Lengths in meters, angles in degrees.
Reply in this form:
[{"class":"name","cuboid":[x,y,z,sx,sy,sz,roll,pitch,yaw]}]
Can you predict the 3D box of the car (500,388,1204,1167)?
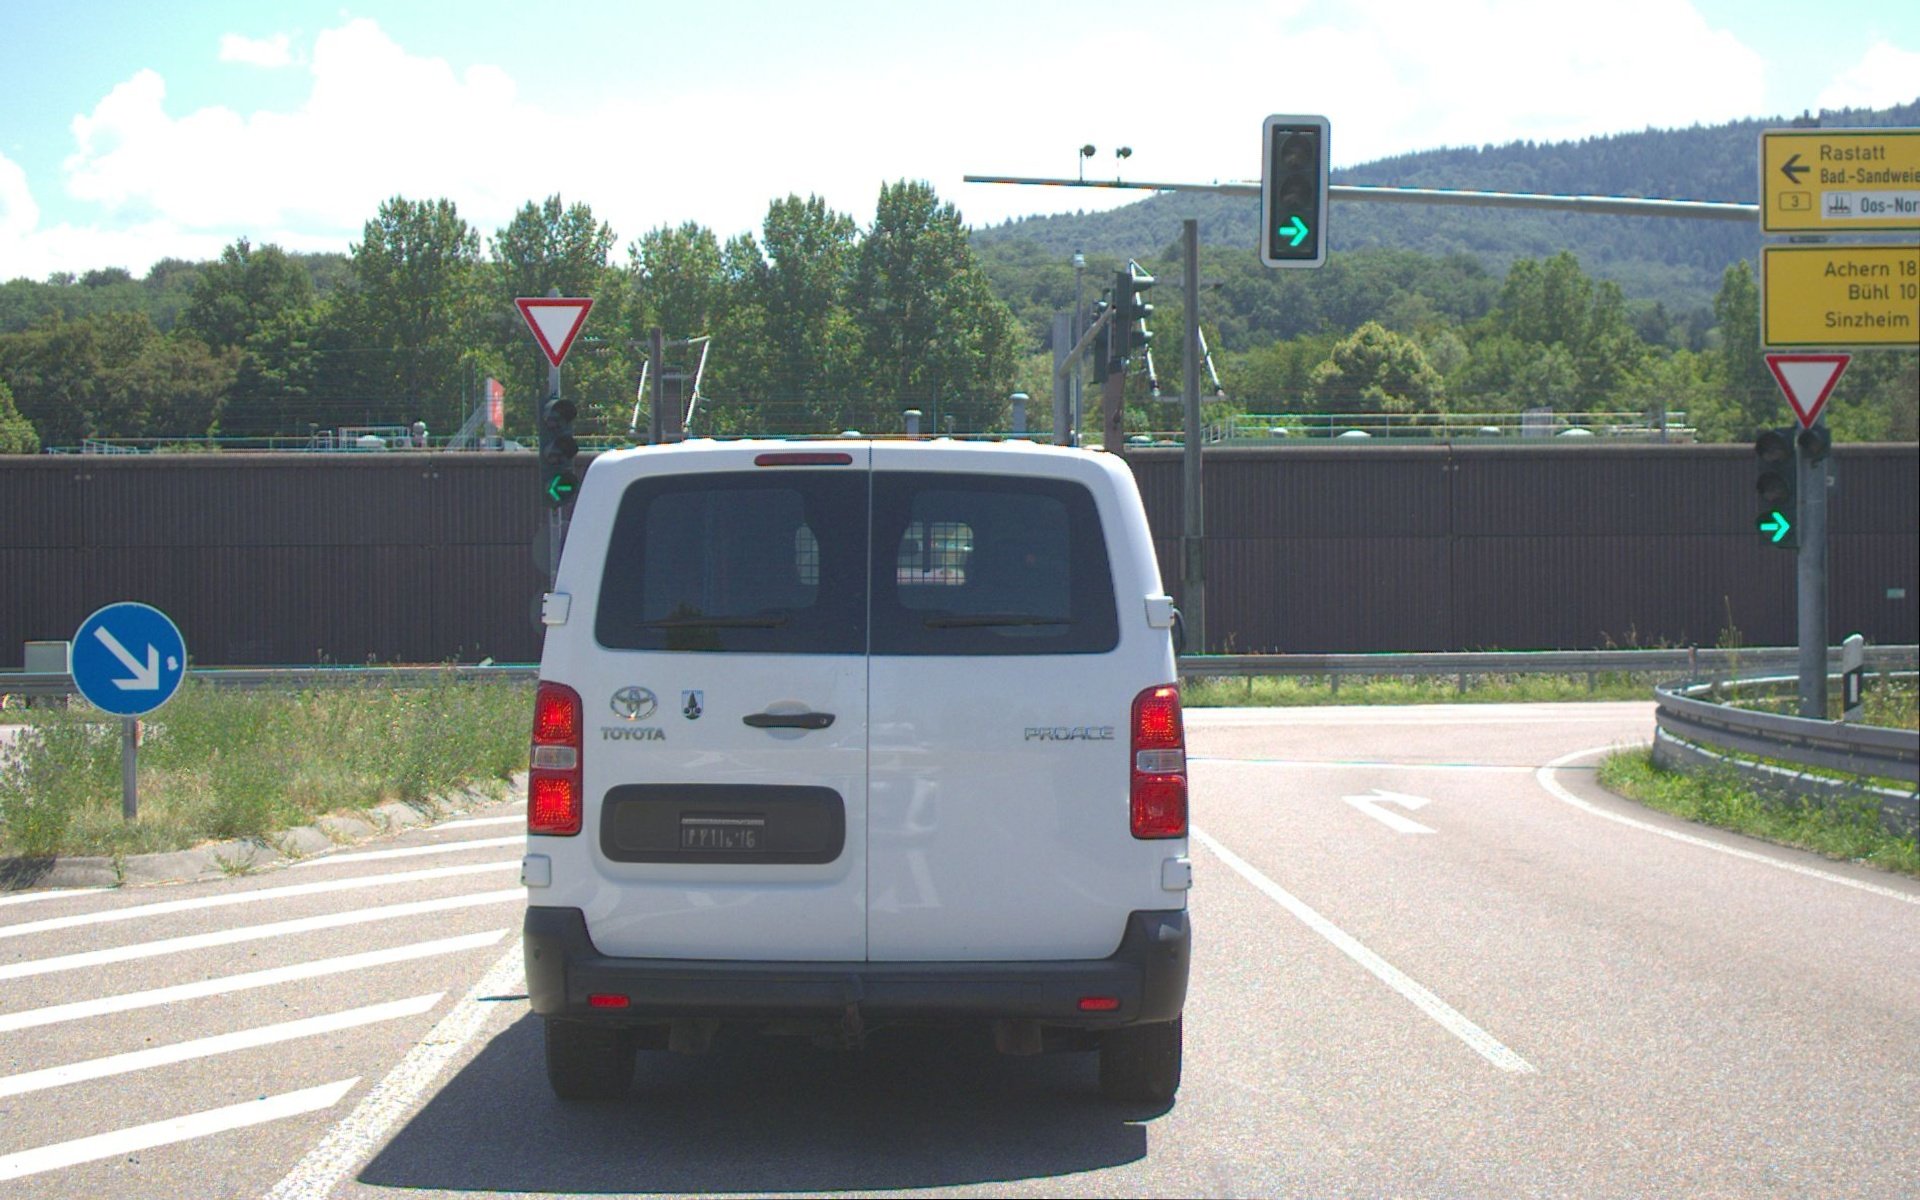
[{"class":"car","cuboid":[-0.307,0.452,10.891,1.814,2.011,4.000,0,0,-1]}]
